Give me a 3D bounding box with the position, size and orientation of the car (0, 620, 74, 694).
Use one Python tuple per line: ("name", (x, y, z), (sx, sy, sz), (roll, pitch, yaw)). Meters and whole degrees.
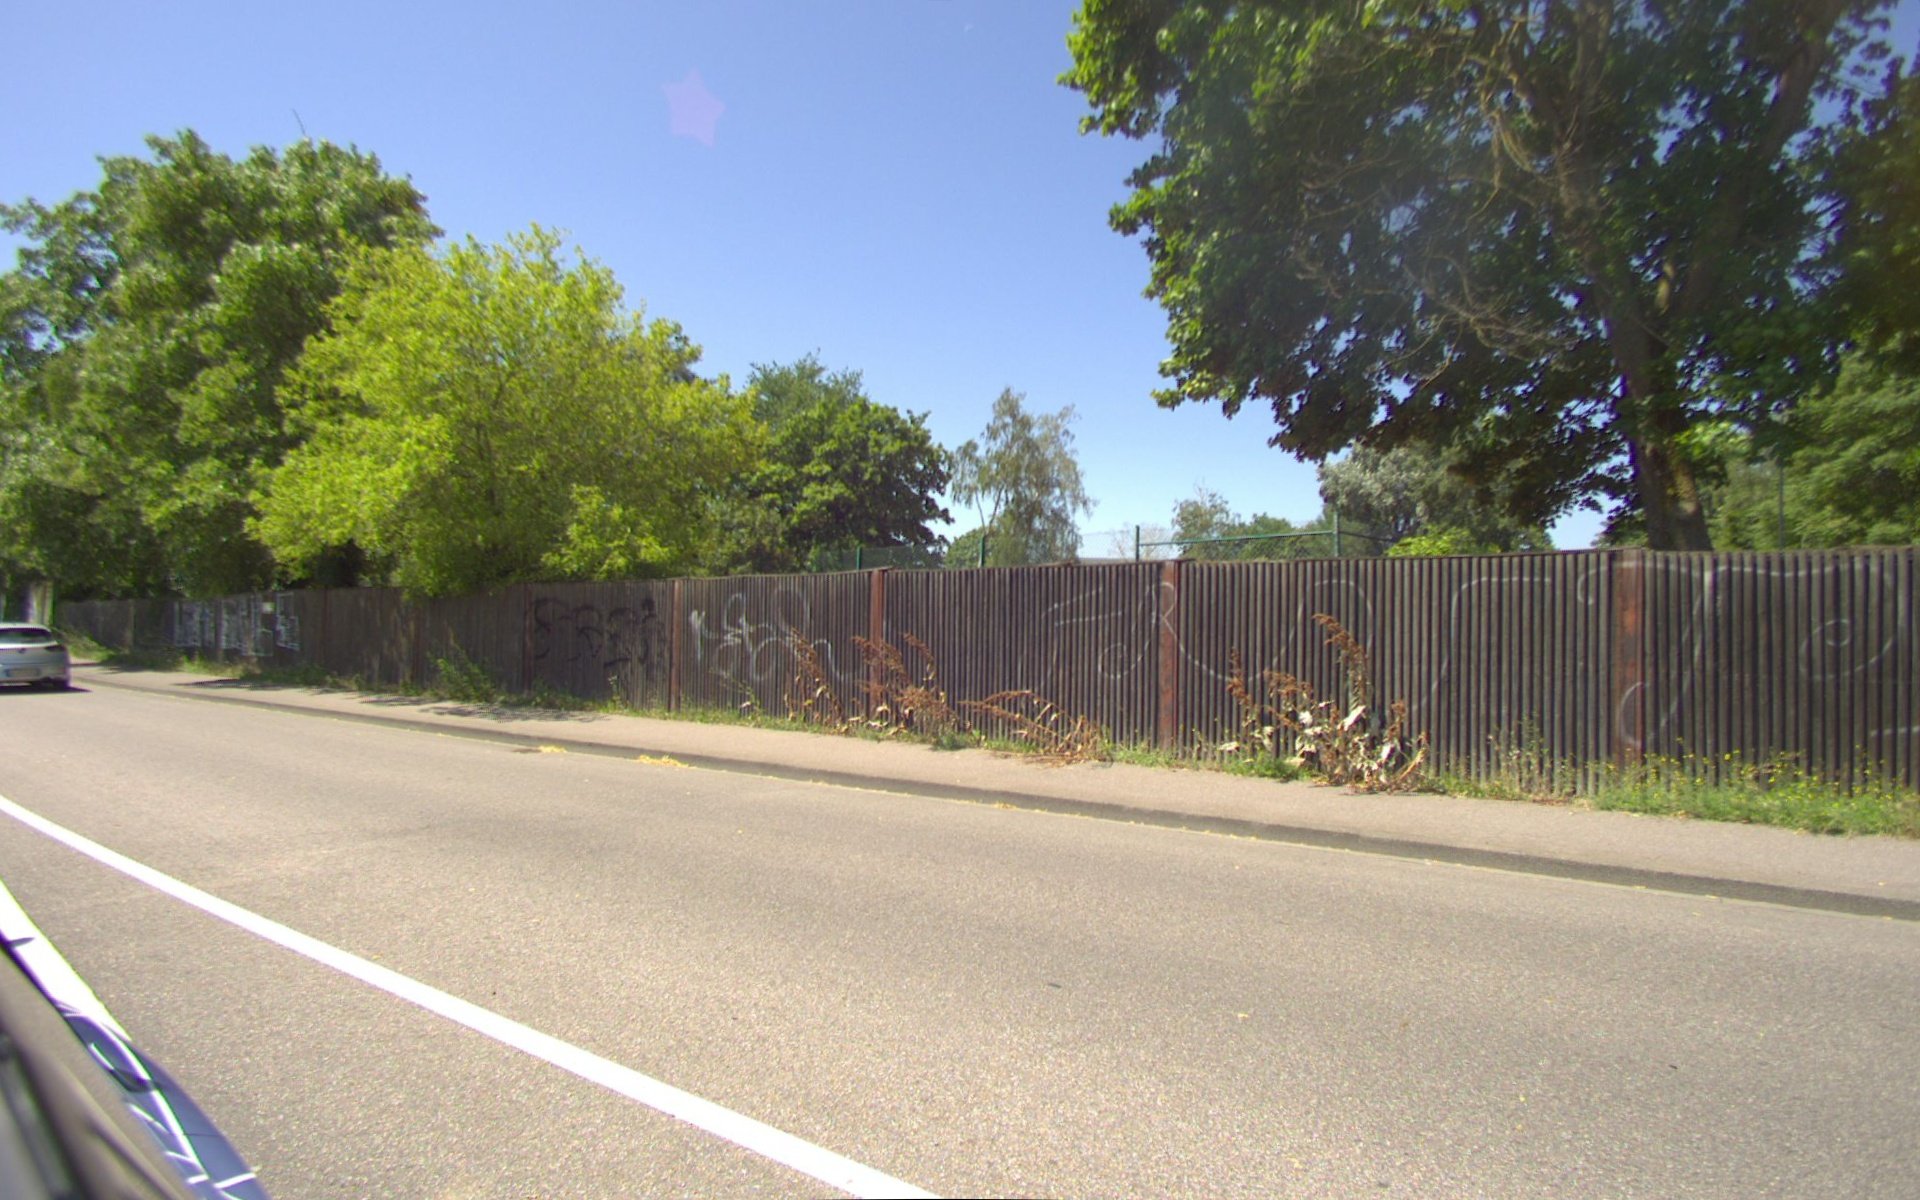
("car", (-20.588, 1.179, 21.557), (3.834, 1.475, 1.699), (-1, -3, 35))
